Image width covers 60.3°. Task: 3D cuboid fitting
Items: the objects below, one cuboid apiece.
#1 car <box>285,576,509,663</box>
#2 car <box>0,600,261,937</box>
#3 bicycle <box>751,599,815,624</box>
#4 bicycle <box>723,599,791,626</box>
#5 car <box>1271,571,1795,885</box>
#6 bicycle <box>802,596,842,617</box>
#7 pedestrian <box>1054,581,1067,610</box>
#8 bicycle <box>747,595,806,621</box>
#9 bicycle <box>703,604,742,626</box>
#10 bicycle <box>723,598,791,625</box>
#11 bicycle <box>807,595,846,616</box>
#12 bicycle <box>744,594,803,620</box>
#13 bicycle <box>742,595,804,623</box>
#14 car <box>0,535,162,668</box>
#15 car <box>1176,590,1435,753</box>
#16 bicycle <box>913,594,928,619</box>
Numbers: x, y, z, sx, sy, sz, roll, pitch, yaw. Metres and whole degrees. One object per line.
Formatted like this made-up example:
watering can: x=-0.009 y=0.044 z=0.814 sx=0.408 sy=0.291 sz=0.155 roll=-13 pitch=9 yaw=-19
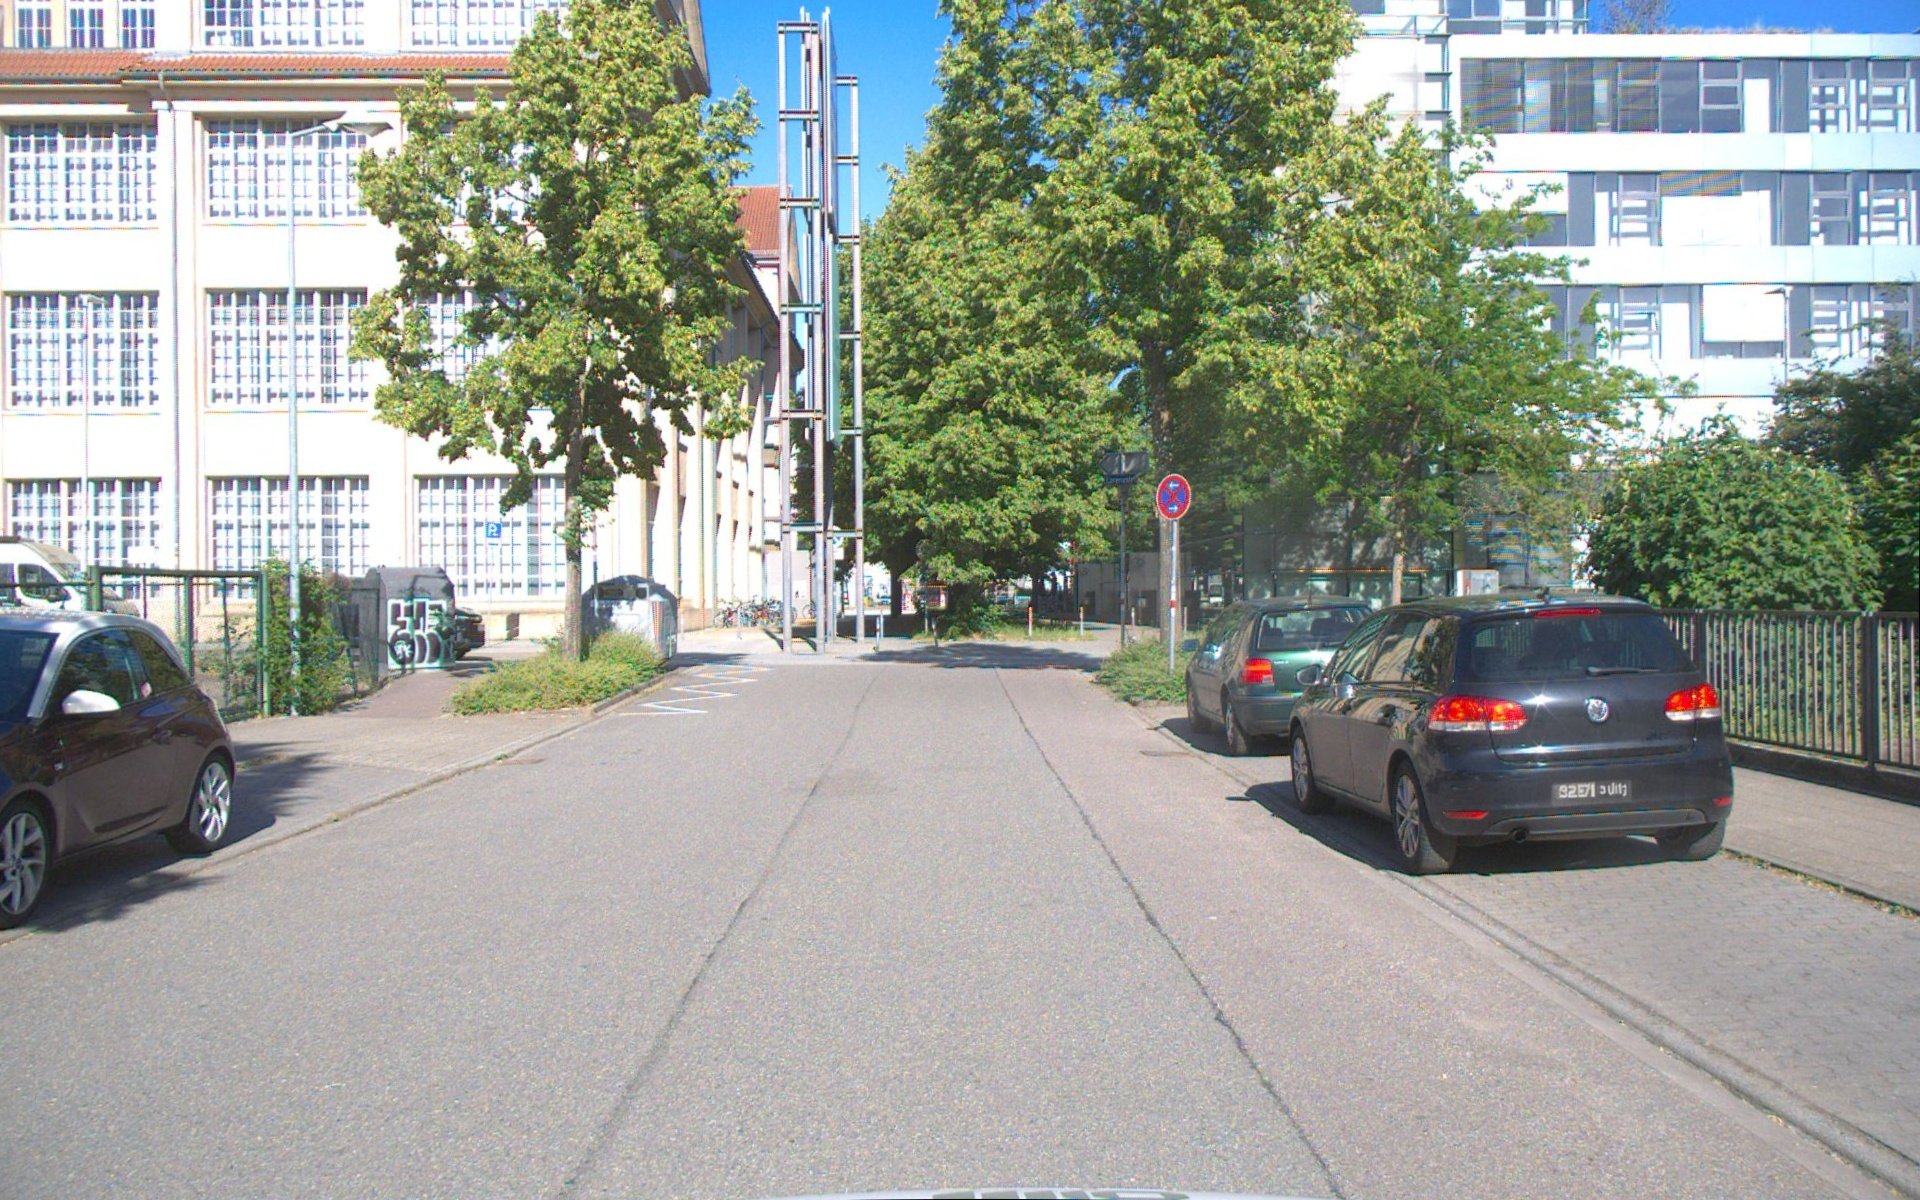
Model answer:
car: x=-11.803 y=0.406 z=34.888 sx=4.005 sy=1.725 sz=2.000 roll=-1 pitch=0 yaw=0
car: x=-5.267 y=0.768 z=8.820 sx=1.683 sy=1.500 sz=3.544 roll=1 pitch=0 yaw=-3
bicycle: x=-7.717 y=0.497 z=72.203 sx=2.746 sy=1.081 sz=0.718 roll=0 pitch=0 yaw=-6
bicycle: x=-8.484 y=0.518 z=69.254 sx=2.743 sy=1.081 sz=0.718 roll=0 pitch=0 yaw=-1
car: x=3.282 y=0.627 z=10.372 sx=1.748 sy=1.542 sz=3.998 roll=-1 pitch=0 yaw=-2
bicycle: x=-7.287 y=0.337 z=87.267 sx=2.015 sy=1.085 sz=0.507 roll=-1 pitch=0 yaw=1
pedestrian: x=5.521 y=-0.260 z=90.822 sx=0.701 sy=1.577 sz=0.690 roll=-1 pitch=0 yaw=5
bicycle: x=-8.495 y=0.389 z=76.741 sx=2.678 sy=1.171 sz=0.718 roll=0 pitch=0 yaw=-6
bicycle: x=-9.296 y=0.593 z=64.842 sx=0.761 sy=0.806 sz=2.886 roll=0 pitch=1 yaw=7
bicycle: x=-8.287 y=0.466 z=67.662 sx=2.746 sy=1.081 sz=0.718 roll=0 pitch=0 yaw=-6
bicycle: x=-7.128 y=0.303 z=88.033 sx=2.015 sy=1.085 sz=0.507 roll=-1 pitch=0 yaw=1
bicycle: x=-8.567 y=0.314 z=75.950 sx=2.678 sy=1.171 sz=0.718 roll=0 pitch=0 yaw=-6
bicycle: x=-8.430 y=0.408 z=74.717 sx=2.746 sy=1.171 sz=0.718 roll=-1 pitch=0 yaw=-6
car: x=-20.246 y=0.061 z=34.409 sx=6.137 sy=2.642 sz=2.164 roll=-1 pitch=0 yaw=-2
car: x=3.370 y=0.649 z=16.965 sx=1.711 sy=1.447 sz=4.423 roll=0 pitch=0 yaw=0
bicycle: x=-1.958 y=0.309 z=81.578 sx=0.607 sy=1.218 sz=2.129 roll=-1 pitch=0 yaw=-6
